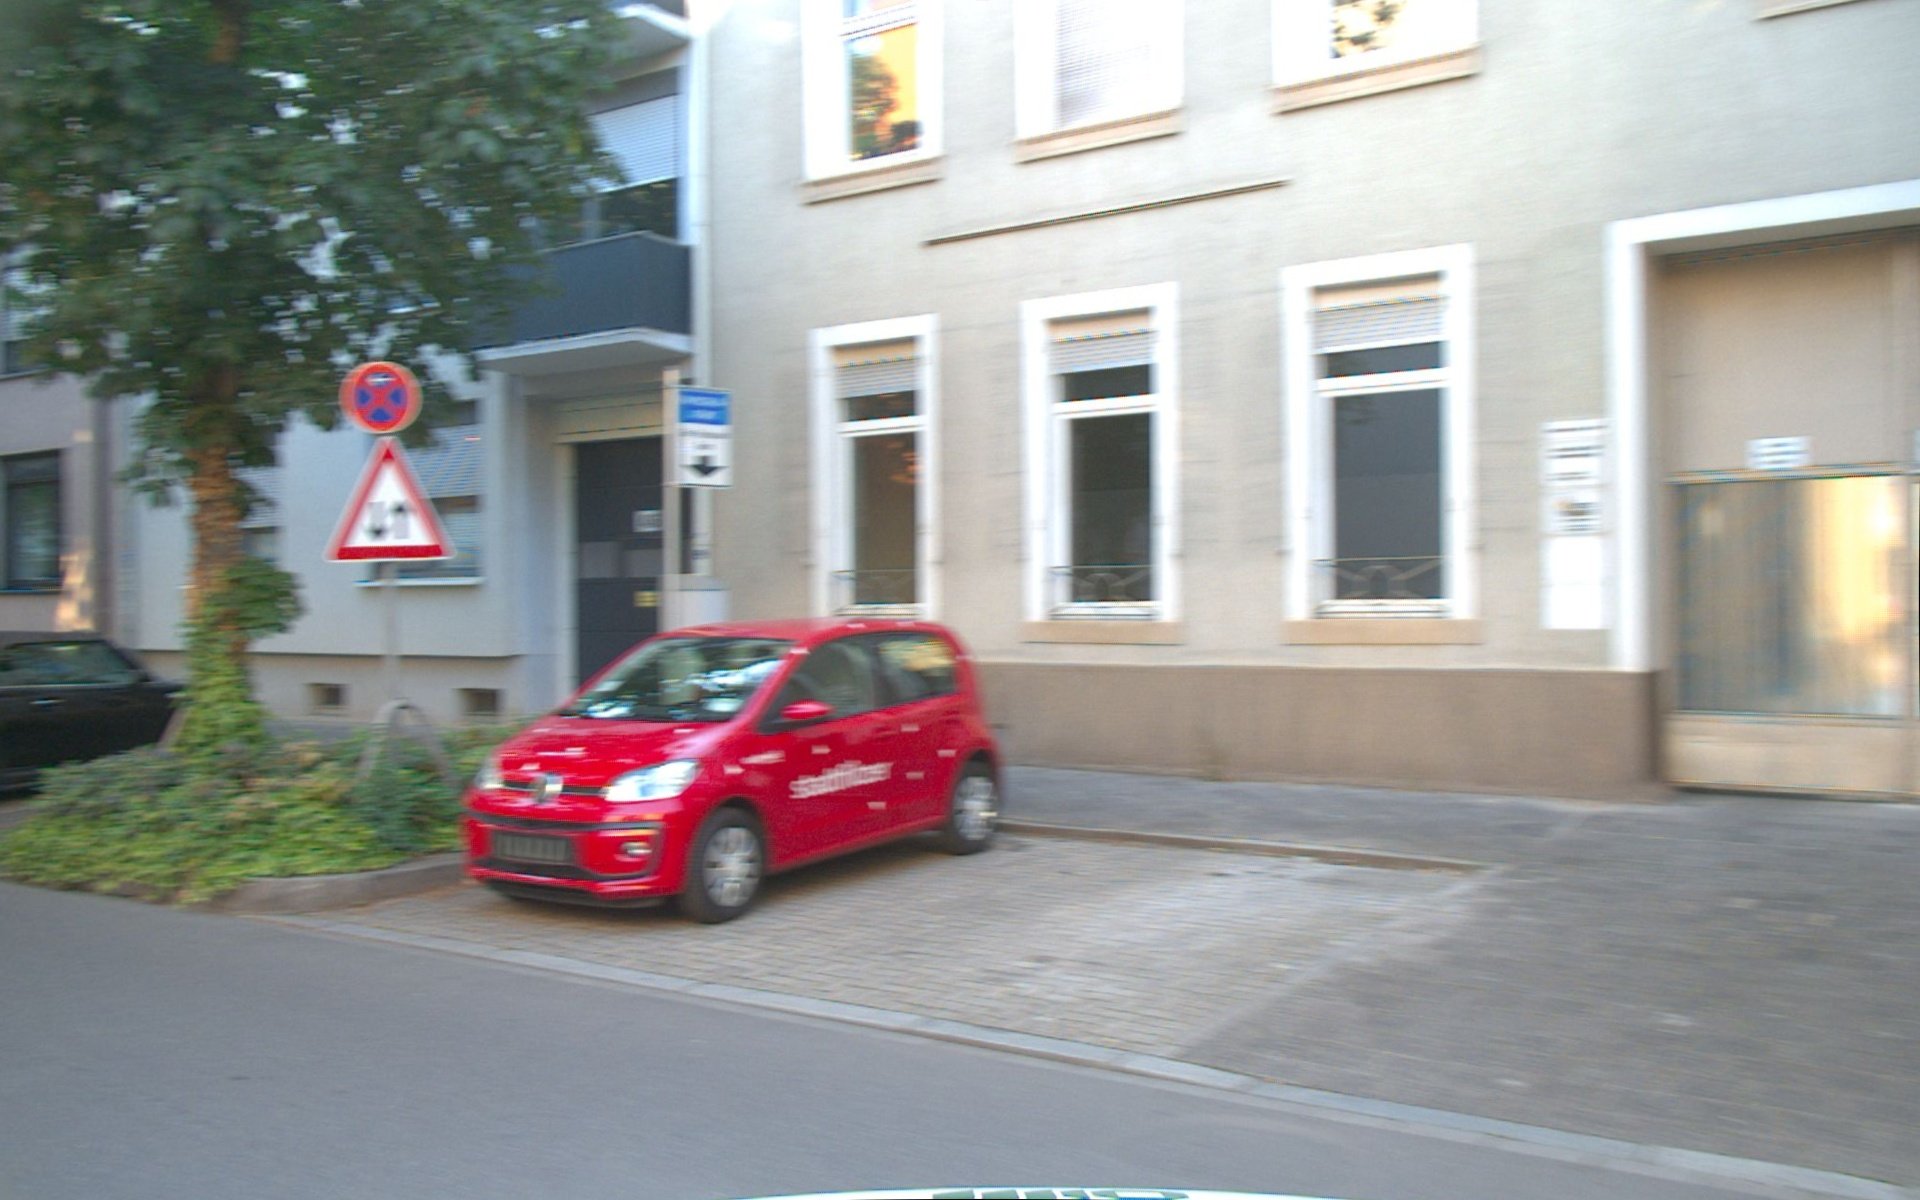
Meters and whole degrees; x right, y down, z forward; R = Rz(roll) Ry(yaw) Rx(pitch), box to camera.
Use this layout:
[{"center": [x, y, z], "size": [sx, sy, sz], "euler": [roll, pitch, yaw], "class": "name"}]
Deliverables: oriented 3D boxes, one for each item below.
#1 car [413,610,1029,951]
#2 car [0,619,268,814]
[{"center": [-1.174, 0.853, 9.593], "size": [1.532, 1.501, 3.659], "euler": [-1, 0, 32], "class": "car"}, {"center": [-8.166, 0.992, 14.427], "size": [1.591, 1.452, 3.709], "euler": [-1, 2, 29], "class": "car"}]
